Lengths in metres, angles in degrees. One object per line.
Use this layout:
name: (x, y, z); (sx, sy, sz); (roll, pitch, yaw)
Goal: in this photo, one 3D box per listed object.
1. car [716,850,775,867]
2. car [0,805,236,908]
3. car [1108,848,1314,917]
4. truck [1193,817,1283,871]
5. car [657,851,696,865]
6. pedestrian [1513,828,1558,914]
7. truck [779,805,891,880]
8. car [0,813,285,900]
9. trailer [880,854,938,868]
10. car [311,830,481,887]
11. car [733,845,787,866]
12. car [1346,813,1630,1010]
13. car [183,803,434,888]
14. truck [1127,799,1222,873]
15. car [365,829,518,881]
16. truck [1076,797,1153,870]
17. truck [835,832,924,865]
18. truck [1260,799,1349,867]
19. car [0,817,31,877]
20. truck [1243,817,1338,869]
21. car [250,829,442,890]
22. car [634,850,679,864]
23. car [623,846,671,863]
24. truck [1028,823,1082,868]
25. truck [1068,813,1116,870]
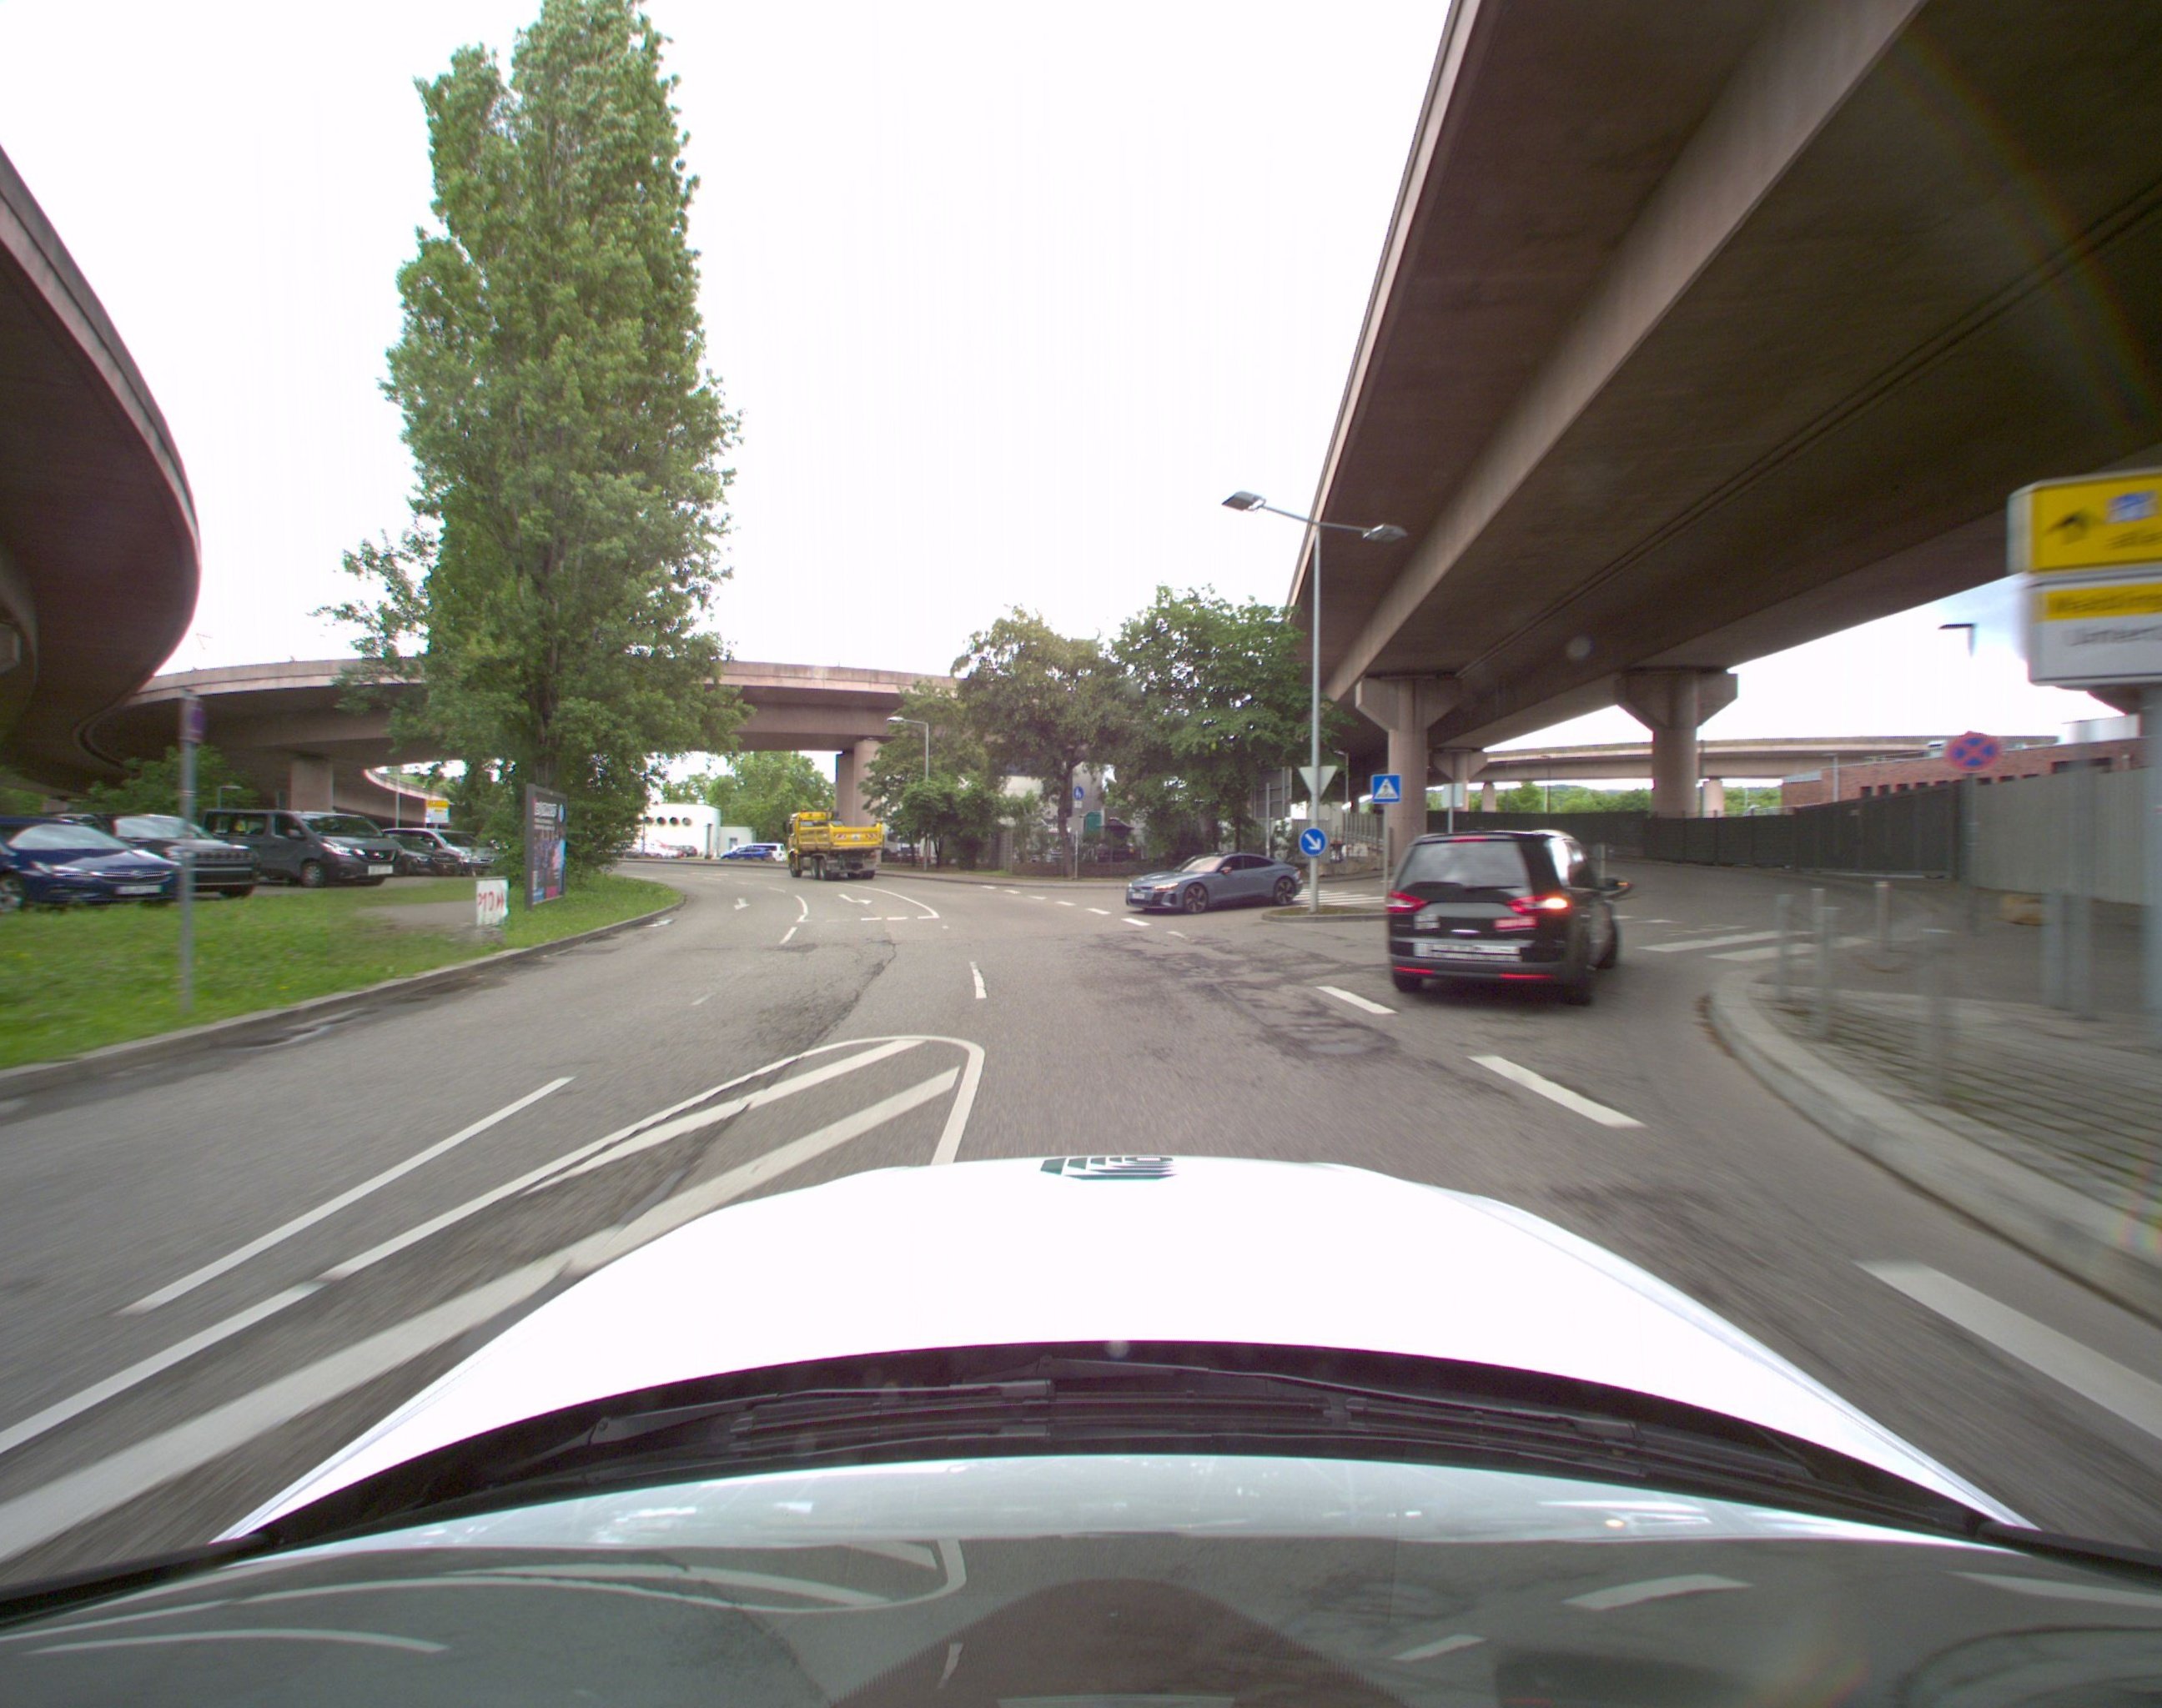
car: (-30.113, 0.410, 73.253); (4.433, 1.442, 1.998); (-1, -1, -3)
car: (-16.916, 0.066, 13.084); (4.813, 1.488, 2.080); (-1, 0, 6)
car: (3.317, 0.643, 20.479); (4.950, 1.502, 2.151); (-1, 0, -33)
truck: (9.146, -0.635, 48.302); (2.917, 2.898, 6.532); (-1, 1, -12)
car: (-50.378, 0.512, 101.531); (3.990, 1.547, 1.847); (-1, -3, -13)
pedestrian: (9.142, 0.330, 16.385); (0.535, 1.676, 0.557); (-2, 0, -3)
truck: (-12.725, -0.619, 41.567); (2.949, 3.481, 8.156); (-2, 2, -35)
car: (-18.278, 0.072, 15.827); (4.405, 1.512, 1.903); (-1, 0, 13)
trailer: (-12.455, 0.459, 58.503); (2.163, 0.743, 6.232); (-4, 2, -31)
car: (-23.009, 0.130, 27.431); (4.328, 1.553, 2.007); (-4, 1, 11)
car: (-30.213, 0.108, 76.764); (4.305, 1.857, 1.997); (-1, -1, -4)
car: (4.882, 0.504, 9.364); (1.974, 1.679, 4.589); (-2, -1, 38)
car: (-20.218, -0.163, 21.412); (5.055, 2.072, 2.267); (0, -2, 12)
truck: (5.242, -1.063, 47.382); (3.068, 3.867, 8.016); (-1, 1, -12)
car: (-23.605, 0.044, 30.139); (4.359, 1.791, 2.022); (-1, 0, 10)
truck: (1.832, -1.159, 48.092); (3.066, 3.963, 6.900); (-1, 1, -10)
truck: (-16.276, -0.381, 65.736); (7.137, 2.552, 2.742); (-1, 0, 32)
truck: (15.183, -1.413, 56.043); (3.063, 4.299, 8.028); (-1, 1, -7)
car: (-32.902, -0.296, 22.708); (1.638, 1.712, 4.106); (3, -1, 27)
truck: (12.474, -0.701, 49.145); (2.917, 2.898, 6.532); (-1, 1, -12)
car: (-22.050, 0.149, 24.497); (4.409, 1.484, 1.816); (-4, 1, 9)
car: (-47.256, 0.351, 90.773); (3.992, 1.406, 1.991); (-1, -1, -14)
car: (-44.725, 0.083, 83.946); (3.994, 1.640, 1.990); (-1, -1, -15)
truck: (-2.304, -0.796, 69.377); (3.059, 3.618, 7.879); (-1, 2, -14)
truck: (0.851, -1.143, 72.775); (3.200, 4.779, 8.029); (-1, 1, -7)
